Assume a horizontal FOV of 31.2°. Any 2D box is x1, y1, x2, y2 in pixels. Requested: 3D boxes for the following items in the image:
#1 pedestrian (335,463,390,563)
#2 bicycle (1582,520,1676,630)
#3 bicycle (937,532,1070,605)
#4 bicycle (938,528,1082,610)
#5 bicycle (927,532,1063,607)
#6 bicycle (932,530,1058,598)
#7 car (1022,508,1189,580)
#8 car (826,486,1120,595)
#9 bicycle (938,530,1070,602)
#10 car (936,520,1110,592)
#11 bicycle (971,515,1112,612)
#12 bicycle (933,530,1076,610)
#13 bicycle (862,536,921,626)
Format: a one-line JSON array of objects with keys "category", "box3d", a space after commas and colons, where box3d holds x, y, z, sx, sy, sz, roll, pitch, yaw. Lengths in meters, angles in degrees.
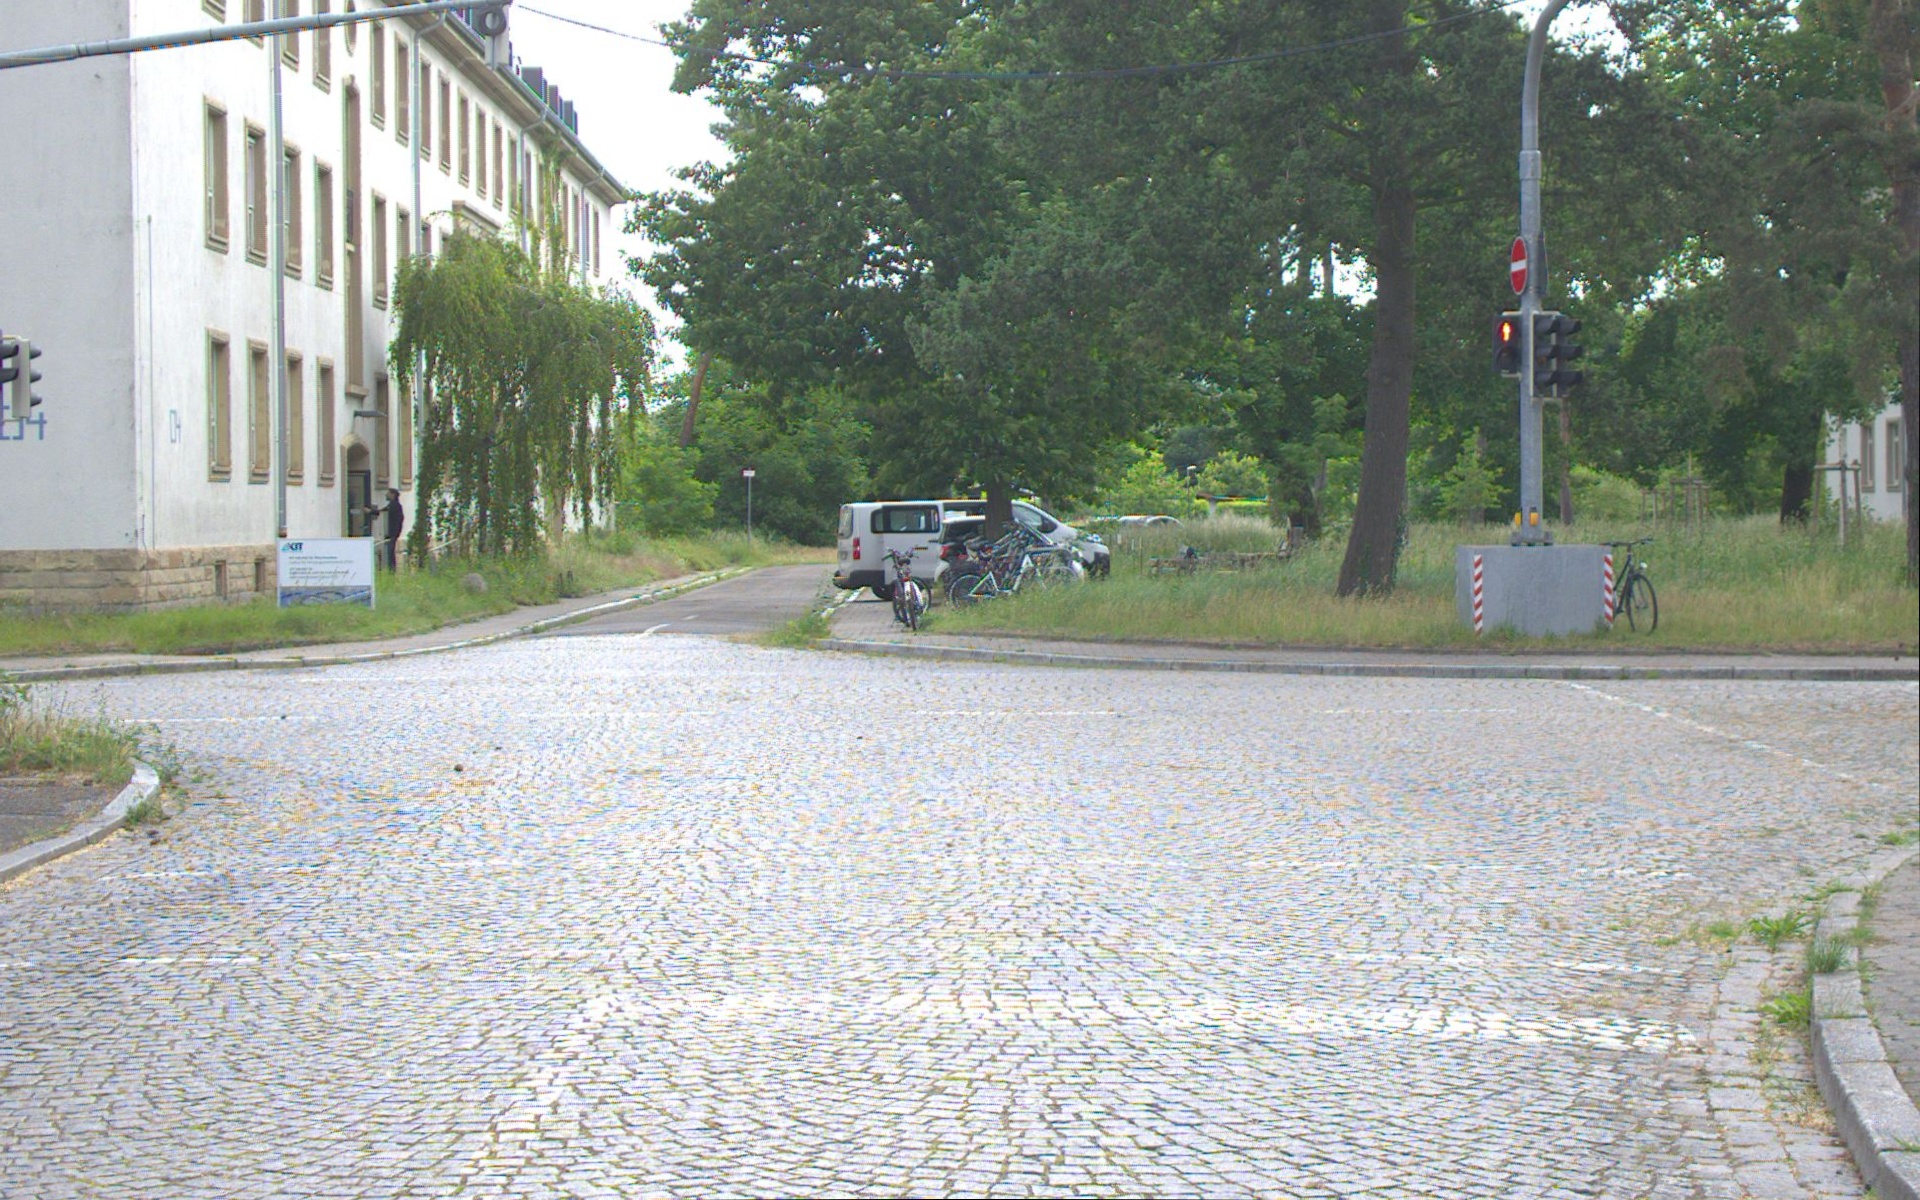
[{"category": "pedestrian", "box3d": [-11.066, -1.609, 63.694, 0.774, 1.831, 0.741, -1, 2, -31]}, {"category": "bicycle", "box3d": [6.955, -0.272, 35.801, 0.586, 1.102, 1.962, 0, 2, 0]}, {"category": "bicycle", "box3d": [0.659, -0.480, 51.402, 1.955, 1.066, 0.588, -1, 2, -30]}, {"category": "bicycle", "box3d": [0.696, -0.441, 47.935, 1.954, 1.128, 0.588, 0, 1, -7]}, {"category": "bicycle", "box3d": [0.514, -0.448, 50.053, 1.955, 1.066, 0.588, -1, 2, -30]}, {"category": "bicycle", "box3d": [0.560, -0.585, 55.087, 1.954, 1.066, 0.588, -1, 2, -24]}, {"category": "car", "box3d": [2.941, -1.151, 69.884, 3.231, 1.411, 1.725, 0, 1, -3]}, {"category": "car", "box3d": [0.227, -1.164, 66.011, 5.359, 1.918, 2.025, -2, 2, -9]}, {"category": "bicycle", "box3d": [0.677, -0.527, 52.756, 1.954, 1.066, 0.588, -1, 2, -24]}, {"category": "car", "box3d": [1.133, -0.806, 62.651, 3.005, 1.264, 1.535, -1, 1, -6]}, {"category": "bicycle", "box3d": [1.165, -0.535, 49.396, 1.954, 1.379, 0.588, 0, 1, -7]}, {"category": "bicycle", "box3d": [0.629, -0.434, 48.569, 1.954, 1.113, 0.588, 0, 1, -7]}, {"category": "bicycle", "box3d": [-0.897, -0.260, 44.747, 0.603, 1.128, 1.962, 0, 2, -6]}]
